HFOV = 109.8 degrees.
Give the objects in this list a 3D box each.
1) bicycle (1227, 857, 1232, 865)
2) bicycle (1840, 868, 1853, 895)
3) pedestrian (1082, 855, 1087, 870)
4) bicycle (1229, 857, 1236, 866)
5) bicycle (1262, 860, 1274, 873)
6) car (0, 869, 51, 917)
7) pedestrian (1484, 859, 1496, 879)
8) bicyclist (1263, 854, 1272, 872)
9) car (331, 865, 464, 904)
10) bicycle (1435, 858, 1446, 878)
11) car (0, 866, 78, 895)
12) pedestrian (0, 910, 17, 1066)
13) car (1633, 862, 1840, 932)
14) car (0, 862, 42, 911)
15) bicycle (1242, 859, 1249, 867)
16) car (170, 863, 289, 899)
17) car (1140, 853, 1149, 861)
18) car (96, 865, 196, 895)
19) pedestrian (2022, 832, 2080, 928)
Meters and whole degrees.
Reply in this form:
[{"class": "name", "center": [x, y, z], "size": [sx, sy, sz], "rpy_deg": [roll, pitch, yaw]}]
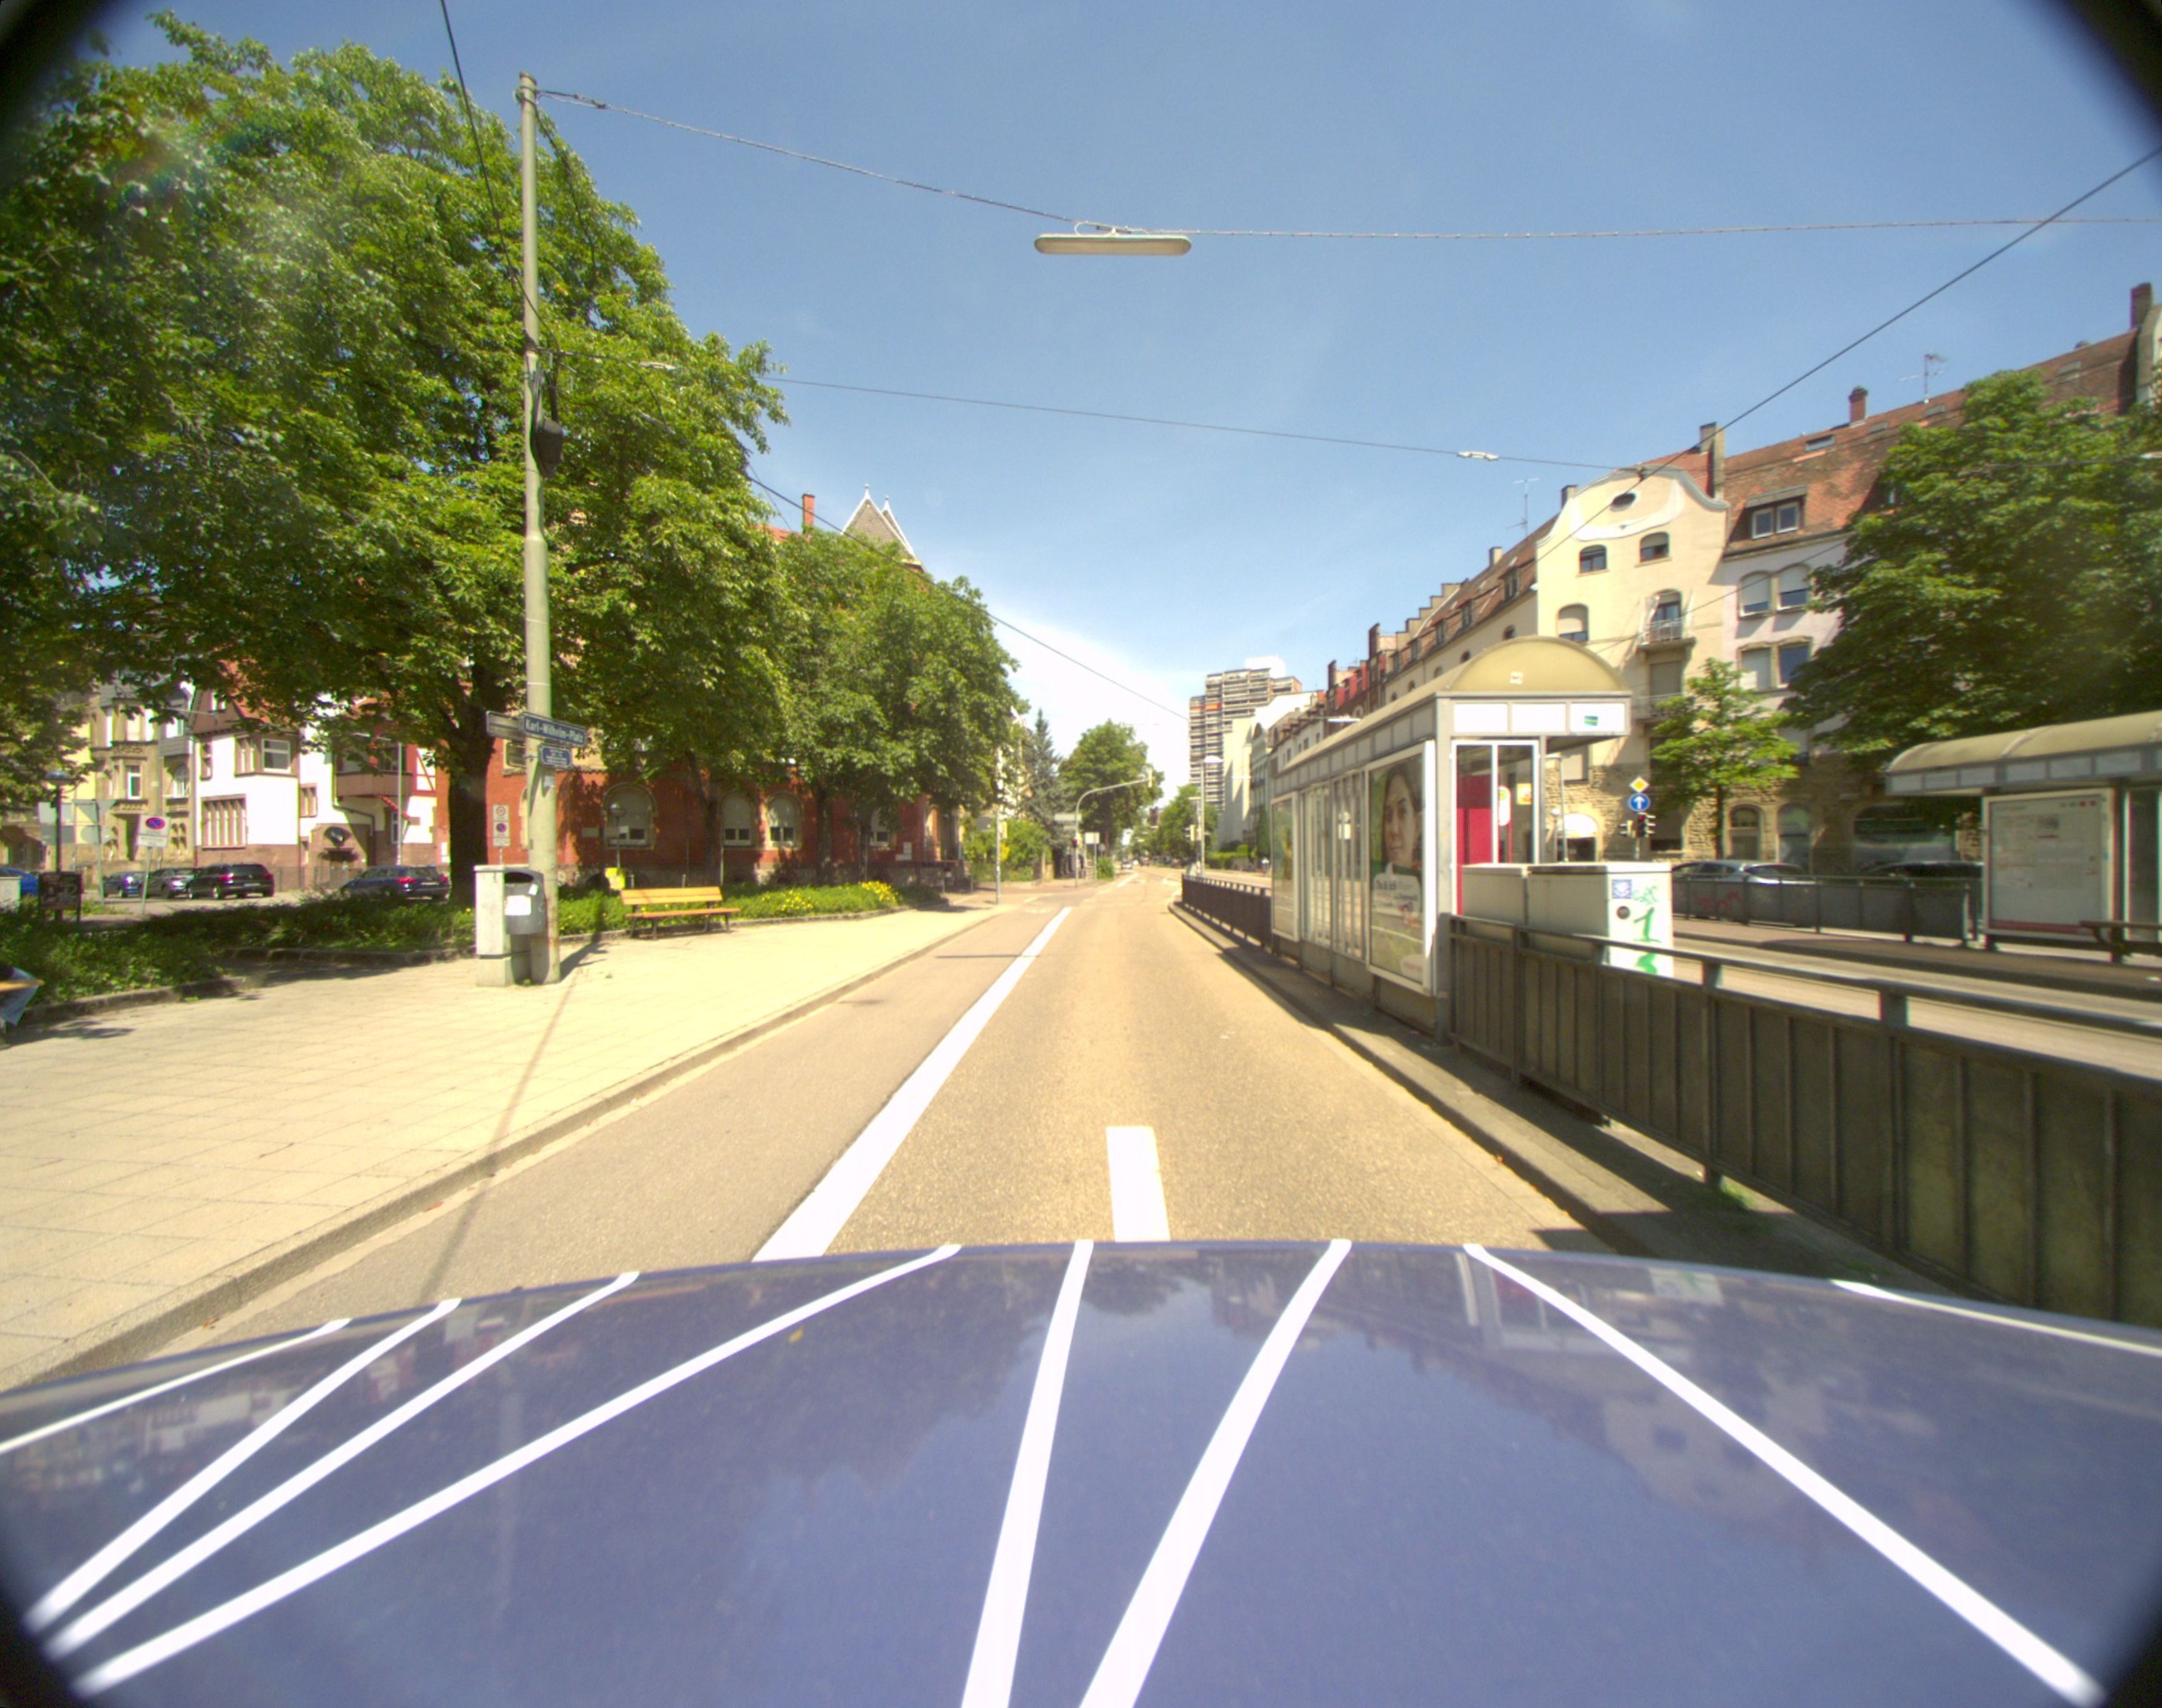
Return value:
[{"class": "bicycle", "center": [19.345, 0.944, 99.045], "size": [0.290, 1.040, 1.900], "rpy_deg": [-1, 1, 1]}, {"class": "bicycle", "center": [29.357, 1.029, 29.148], "size": [0.289, 0.968, 1.676], "rpy_deg": [0, 1, 44]}, {"class": "pedestrian", "center": [0.387, 1.026, 92.008], "size": [0.547, 1.683, 0.755], "rpy_deg": [0, 1, 1]}, {"class": "bicycle", "center": [19.367, 0.935, 96.934], "size": [0.493, 1.090, 2.047], "rpy_deg": [-1, 0, 1]}, {"class": "bicycle", "center": [16.832, 1.153, 68.445], "size": [0.629, 1.150, 1.978], "rpy_deg": [-1, 0, 1]}, {"class": "car", "center": [-32.874, 1.151, 21.635], "size": [1.723, 1.421, 3.895], "rpy_deg": [-1, -1, 20]}, {"class": "pedestrian", "center": [22.945, 0.841, 42.619], "size": [0.406, 1.142, 0.405], "rpy_deg": [-1, 1, -2]}, {"class": "bicyclist", "center": [16.815, 0.806, 68.439], "size": [0.609, 1.565, 0.585], "rpy_deg": [-1, 1, 1]}, {"class": "car", "center": [-27.200, 1.199, 30.230], "size": [4.748, 1.433, 1.908], "rpy_deg": [-1, 1, 21]}, {"class": "bicycle", "center": [23.000, 0.874, 48.642], "size": [0.454, 1.218, 2.083], "rpy_deg": [-1, 1, 21]}, {"class": "car", "center": [-59.724, 1.507, 43.285], "size": [4.391, 1.547, 1.908], "rpy_deg": [-1, 1, 21]}, {"class": "pedestrian", "center": [-7.800, 0.928, 5.146], "size": [0.510, 1.085, 0.478], "rpy_deg": [1, -1, 7]}, {"class": "car", "center": [14.815, 0.897, 17.452], "size": [1.544, 1.331, 3.718], "rpy_deg": [-1, 1, 0]}, {"class": "car", "center": [-37.353, 1.073, 24.474], "size": [1.723, 1.642, 4.273], "rpy_deg": [-1, -1, 20]}, {"class": "bicycle", "center": [18.973, 1.065, 87.682], "size": [0.463, 0.943, 1.954], "rpy_deg": [-1, 0, 1]}, {"class": "car", "center": [-40.036, 1.261, 35.732], "size": [5.477, 1.523, 1.991], "rpy_deg": [-1, 1, 22]}, {"class": "car", "center": [14.856, 0.662, 176.946], "size": [1.848, 1.926, 4.823], "rpy_deg": [1, 0, 2]}, {"class": "car", "center": [-48.954, 1.370, 39.781], "size": [4.605, 1.456, 1.908], "rpy_deg": [-1, 1, 21]}, {"class": "pedestrian", "center": [19.335, 0.509, 15.152], "size": [0.511, 1.868, 0.494], "rpy_deg": [-1, 1, 6]}]
